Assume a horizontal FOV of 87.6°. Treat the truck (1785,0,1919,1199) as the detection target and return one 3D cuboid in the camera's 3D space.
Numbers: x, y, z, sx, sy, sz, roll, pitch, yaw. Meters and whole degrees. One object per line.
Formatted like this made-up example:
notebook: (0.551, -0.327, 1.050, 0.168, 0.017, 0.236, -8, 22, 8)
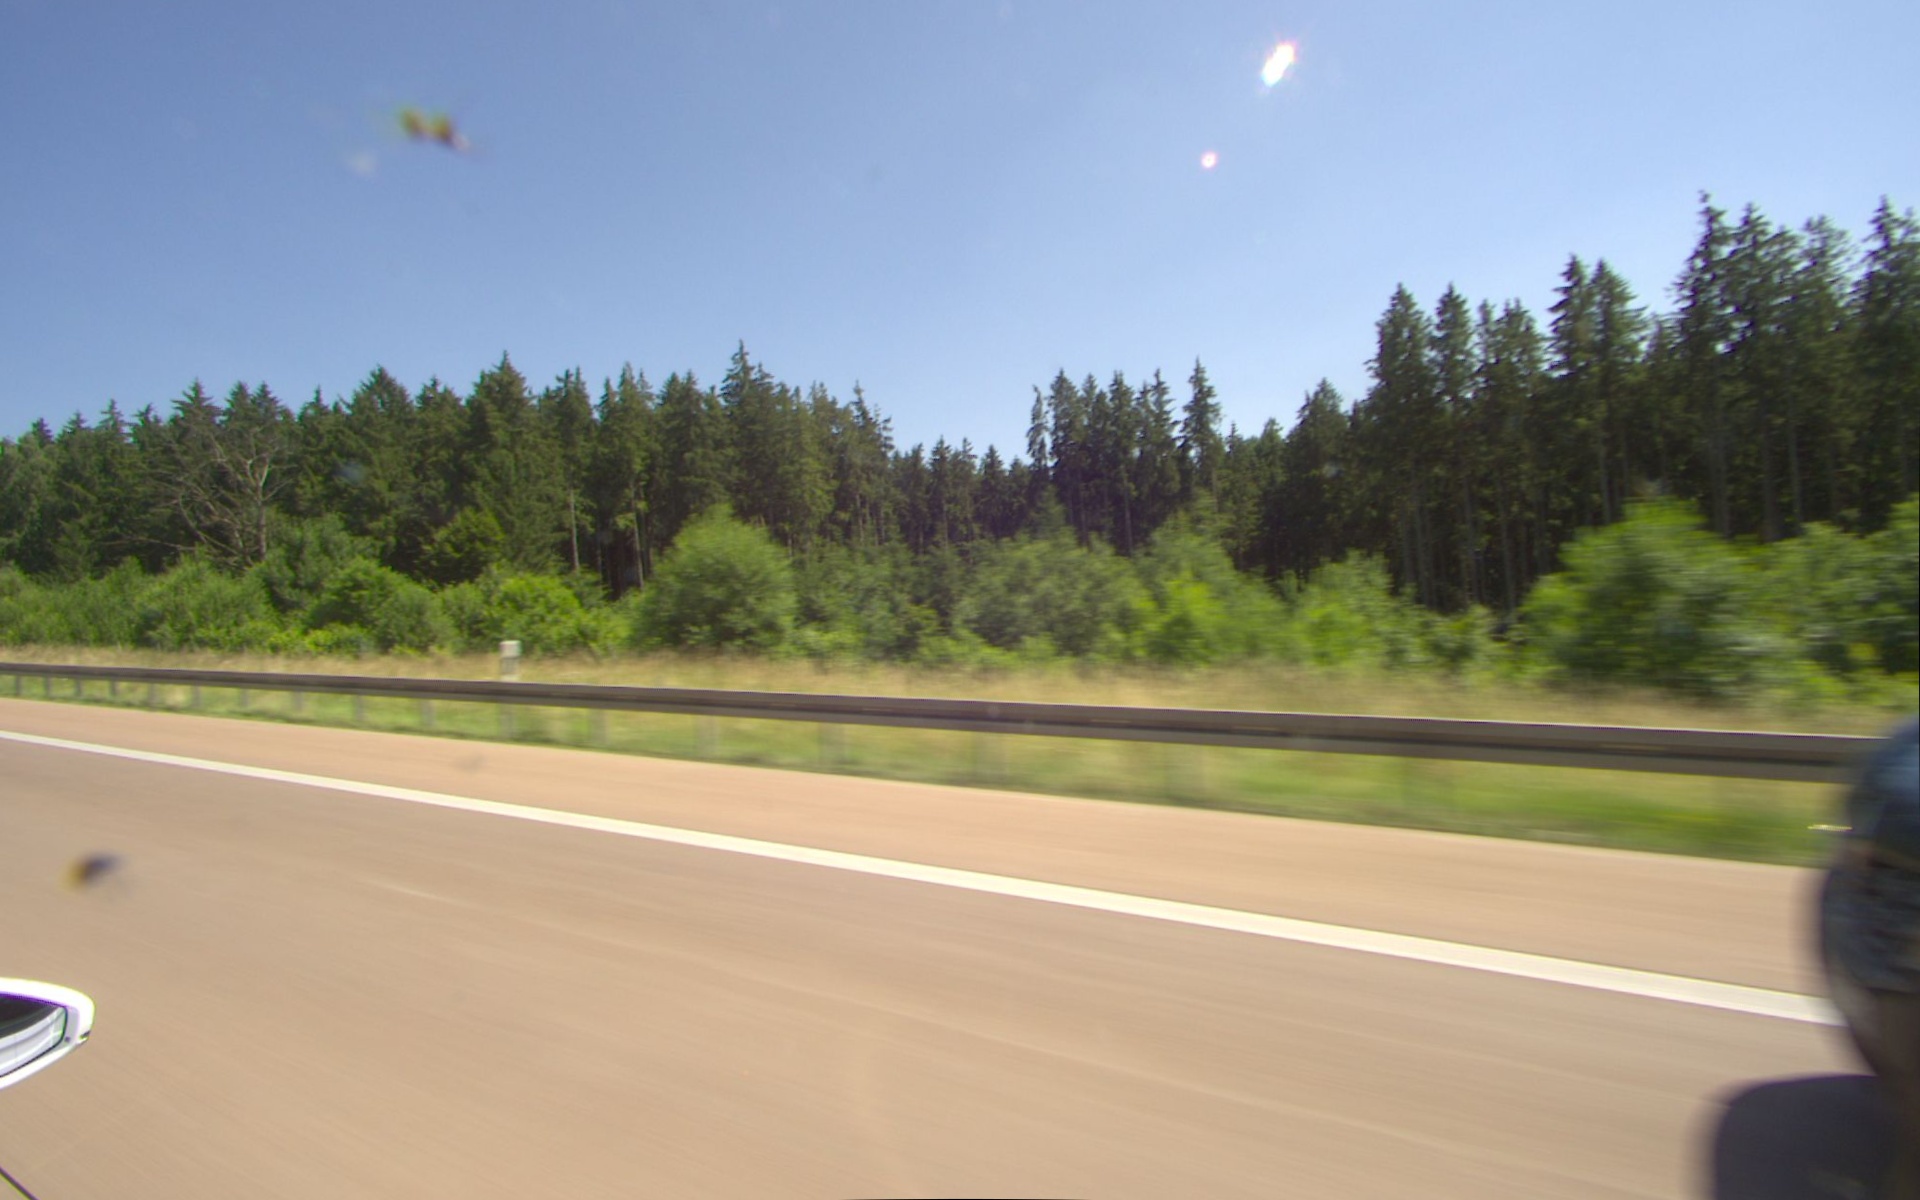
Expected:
truck: (5.666, -0.180, 0.587, 7.671, 3.260, 2.498, -1, -1, 32)
